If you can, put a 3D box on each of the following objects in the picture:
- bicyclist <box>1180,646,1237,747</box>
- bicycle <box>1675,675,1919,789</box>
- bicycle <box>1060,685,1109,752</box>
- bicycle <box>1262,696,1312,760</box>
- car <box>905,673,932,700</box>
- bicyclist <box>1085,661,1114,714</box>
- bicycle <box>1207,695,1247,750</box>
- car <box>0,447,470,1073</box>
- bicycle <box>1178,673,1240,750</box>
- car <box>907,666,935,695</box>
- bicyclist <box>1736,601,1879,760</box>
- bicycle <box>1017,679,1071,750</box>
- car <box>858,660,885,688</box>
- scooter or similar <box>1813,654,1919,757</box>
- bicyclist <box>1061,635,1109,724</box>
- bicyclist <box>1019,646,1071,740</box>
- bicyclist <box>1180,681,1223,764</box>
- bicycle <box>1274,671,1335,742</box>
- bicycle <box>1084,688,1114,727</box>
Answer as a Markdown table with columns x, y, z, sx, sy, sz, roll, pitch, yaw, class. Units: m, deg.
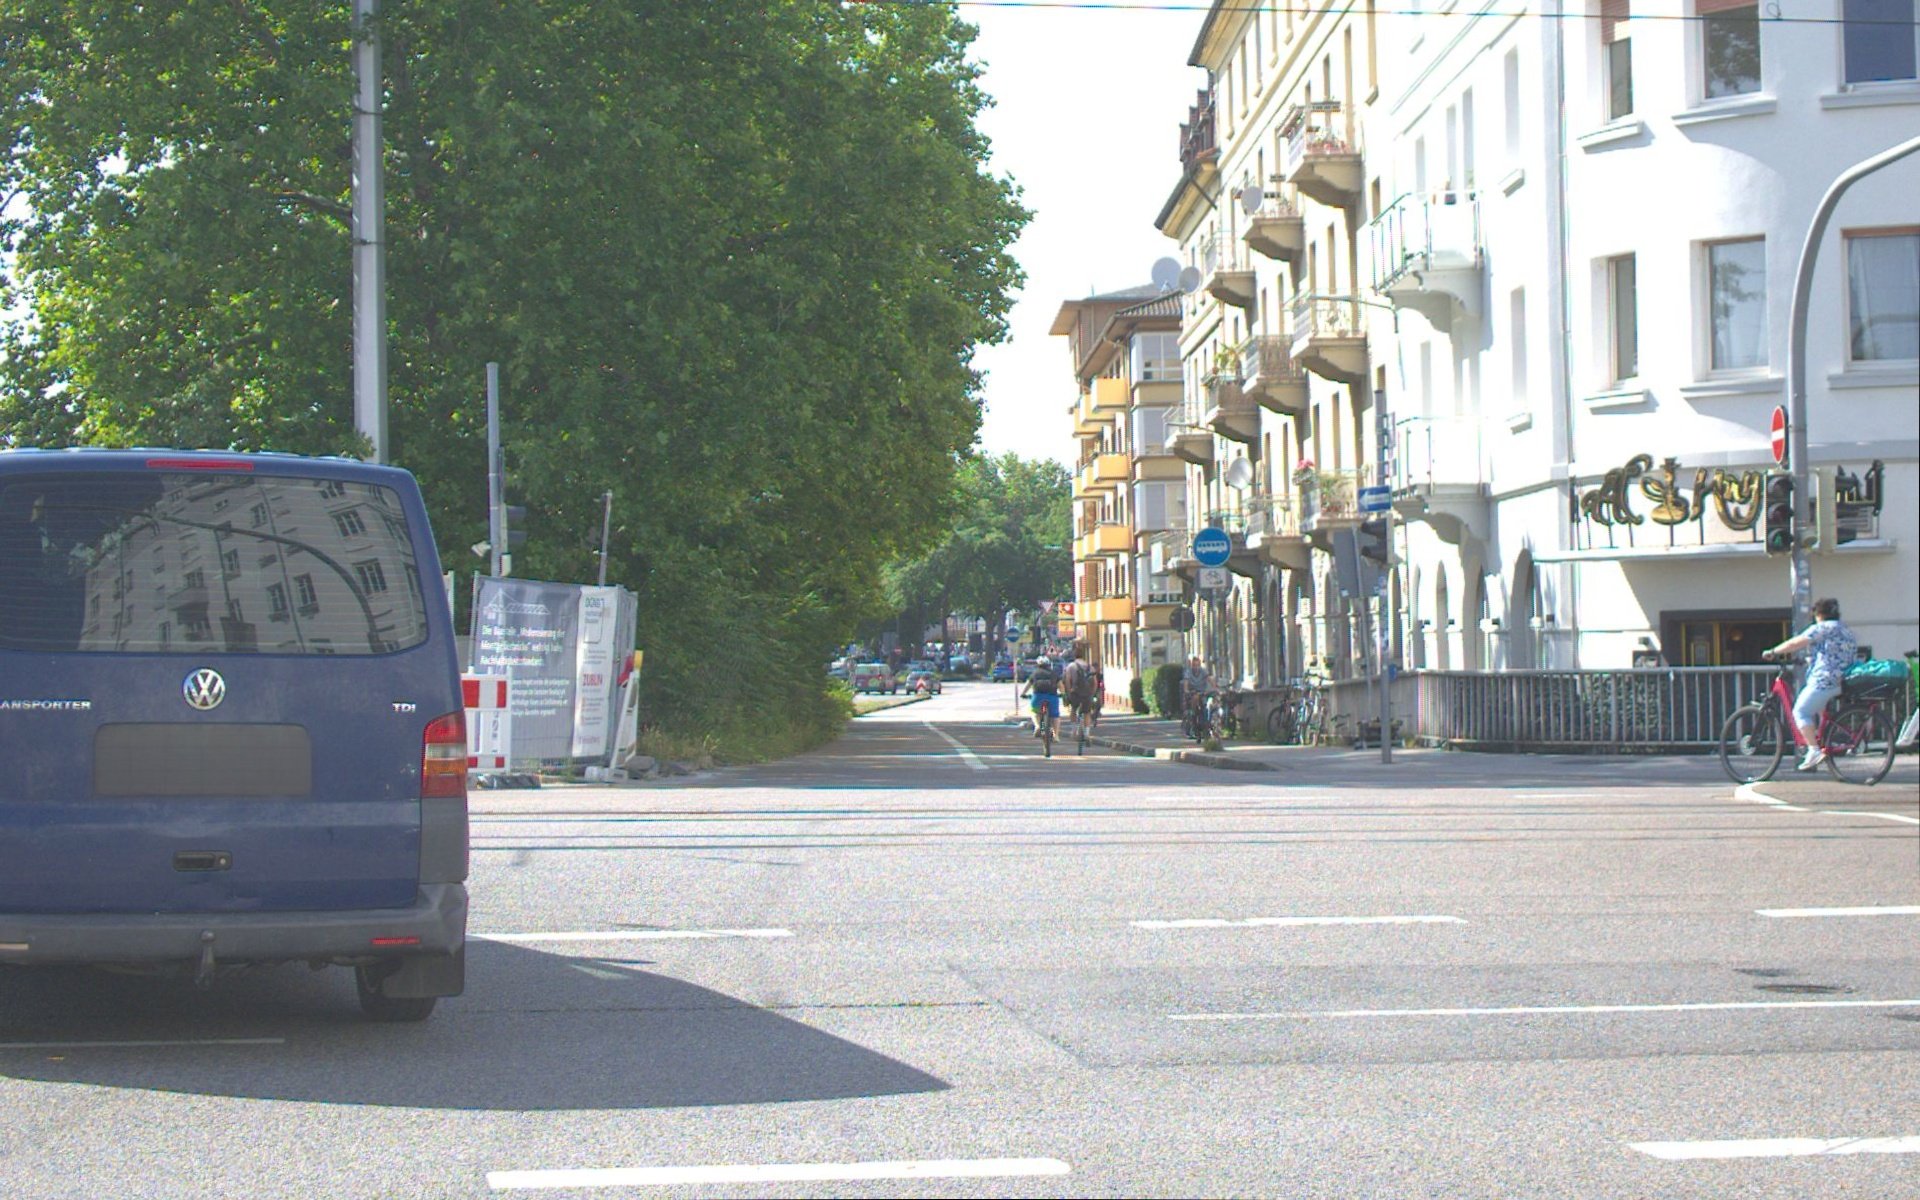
| x | y | z | sx | sy | sz | roll | pitch | yaw | class |
| --- | --- | --- | --- | --- | --- | --- | --- | --- | --- |
| 3.726 | 1.452 | 51.605 | 0.837 | 1.503 | 0.952 | 0 | -2 | 3 | bicyclist |
| 7.602 | 1.177 | 31.177 | 0.865 | 0.987 | 2.246 | 1 | -2 | -32 | bicycle |
| 2.188 | 2.063 | 60.126 | 0.837 | 1.133 | 2.858 | 0 | -2 | 3 | bicycle |
| 5.701 | 2.219 | 60.007 | 0.680 | 1.071 | 2.292 | 0 | -1 | 1 | bicycle |
| -2.568 | 5.326 | 211.967 | 1.626 | 1.617 | 3.695 | 0 | 0 | -1 | car |
| 4.101 | 2.575 | 101.250 | 0.837 | 1.532 | 1.023 | 0 | -2 | 3 | bicyclist |
| 5.502 | 2.516 | 70.848 | 0.680 | 1.071 | 2.292 | 0 | -1 | 1 | bicycle |
| -3.115 | 0.476 | 12.515 | 1.815 | 1.899 | 4.055 | 0 | 0 | -20 | car |
| 3.729 | 1.668 | 51.698 | 0.837 | 1.133 | 2.858 | 0 | -2 | 2 | bicycle |
| -2.247 | 4.651 | 199.034 | 1.626 | 1.617 | 3.695 | 0 | 0 | -1 | car |
| 7.662 | 0.729 | 31.096 | 0.865 | 1.411 | 0.917 | 1 | -2 | -33 | bicyclist |
| 1.395 | 1.874 | 56.498 | 0.837 | 1.133 | 2.858 | 0 | -2 | 2 | bicycle |
| -5.437 | 4.554 | 211.692 | 1.626 | 1.617 | 3.695 | 0 | 0 | -1 | car |
| 10.008 | 1.155 | 37.623 | 1.301 | 1.114 | 0.339 | 0 | -1 | 12 | scooter or similar |
| 2.190 | 1.395 | 60.156 | 0.837 | 1.532 | 1.023 | 0 | -2 | 3 | bicyclist |
| 1.405 | 1.533 | 56.580 | 0.837 | 1.532 | 1.023 | 0 | -2 | 3 | bicyclist |
| 4.634 | 2.337 | 65.878 | 0.708 | 1.544 | 0.784 | -2 | 0 | 0 | bicyclist |
| 5.663 | 1.749 | 56.648 | 0.837 | 1.133 | 2.858 | 0 | -2 | 2 | bicycle |
| 4.101 | 3.157 | 101.333 | 0.837 | 1.133 | 2.858 | 0 | -2 | 3 | bicycle |
